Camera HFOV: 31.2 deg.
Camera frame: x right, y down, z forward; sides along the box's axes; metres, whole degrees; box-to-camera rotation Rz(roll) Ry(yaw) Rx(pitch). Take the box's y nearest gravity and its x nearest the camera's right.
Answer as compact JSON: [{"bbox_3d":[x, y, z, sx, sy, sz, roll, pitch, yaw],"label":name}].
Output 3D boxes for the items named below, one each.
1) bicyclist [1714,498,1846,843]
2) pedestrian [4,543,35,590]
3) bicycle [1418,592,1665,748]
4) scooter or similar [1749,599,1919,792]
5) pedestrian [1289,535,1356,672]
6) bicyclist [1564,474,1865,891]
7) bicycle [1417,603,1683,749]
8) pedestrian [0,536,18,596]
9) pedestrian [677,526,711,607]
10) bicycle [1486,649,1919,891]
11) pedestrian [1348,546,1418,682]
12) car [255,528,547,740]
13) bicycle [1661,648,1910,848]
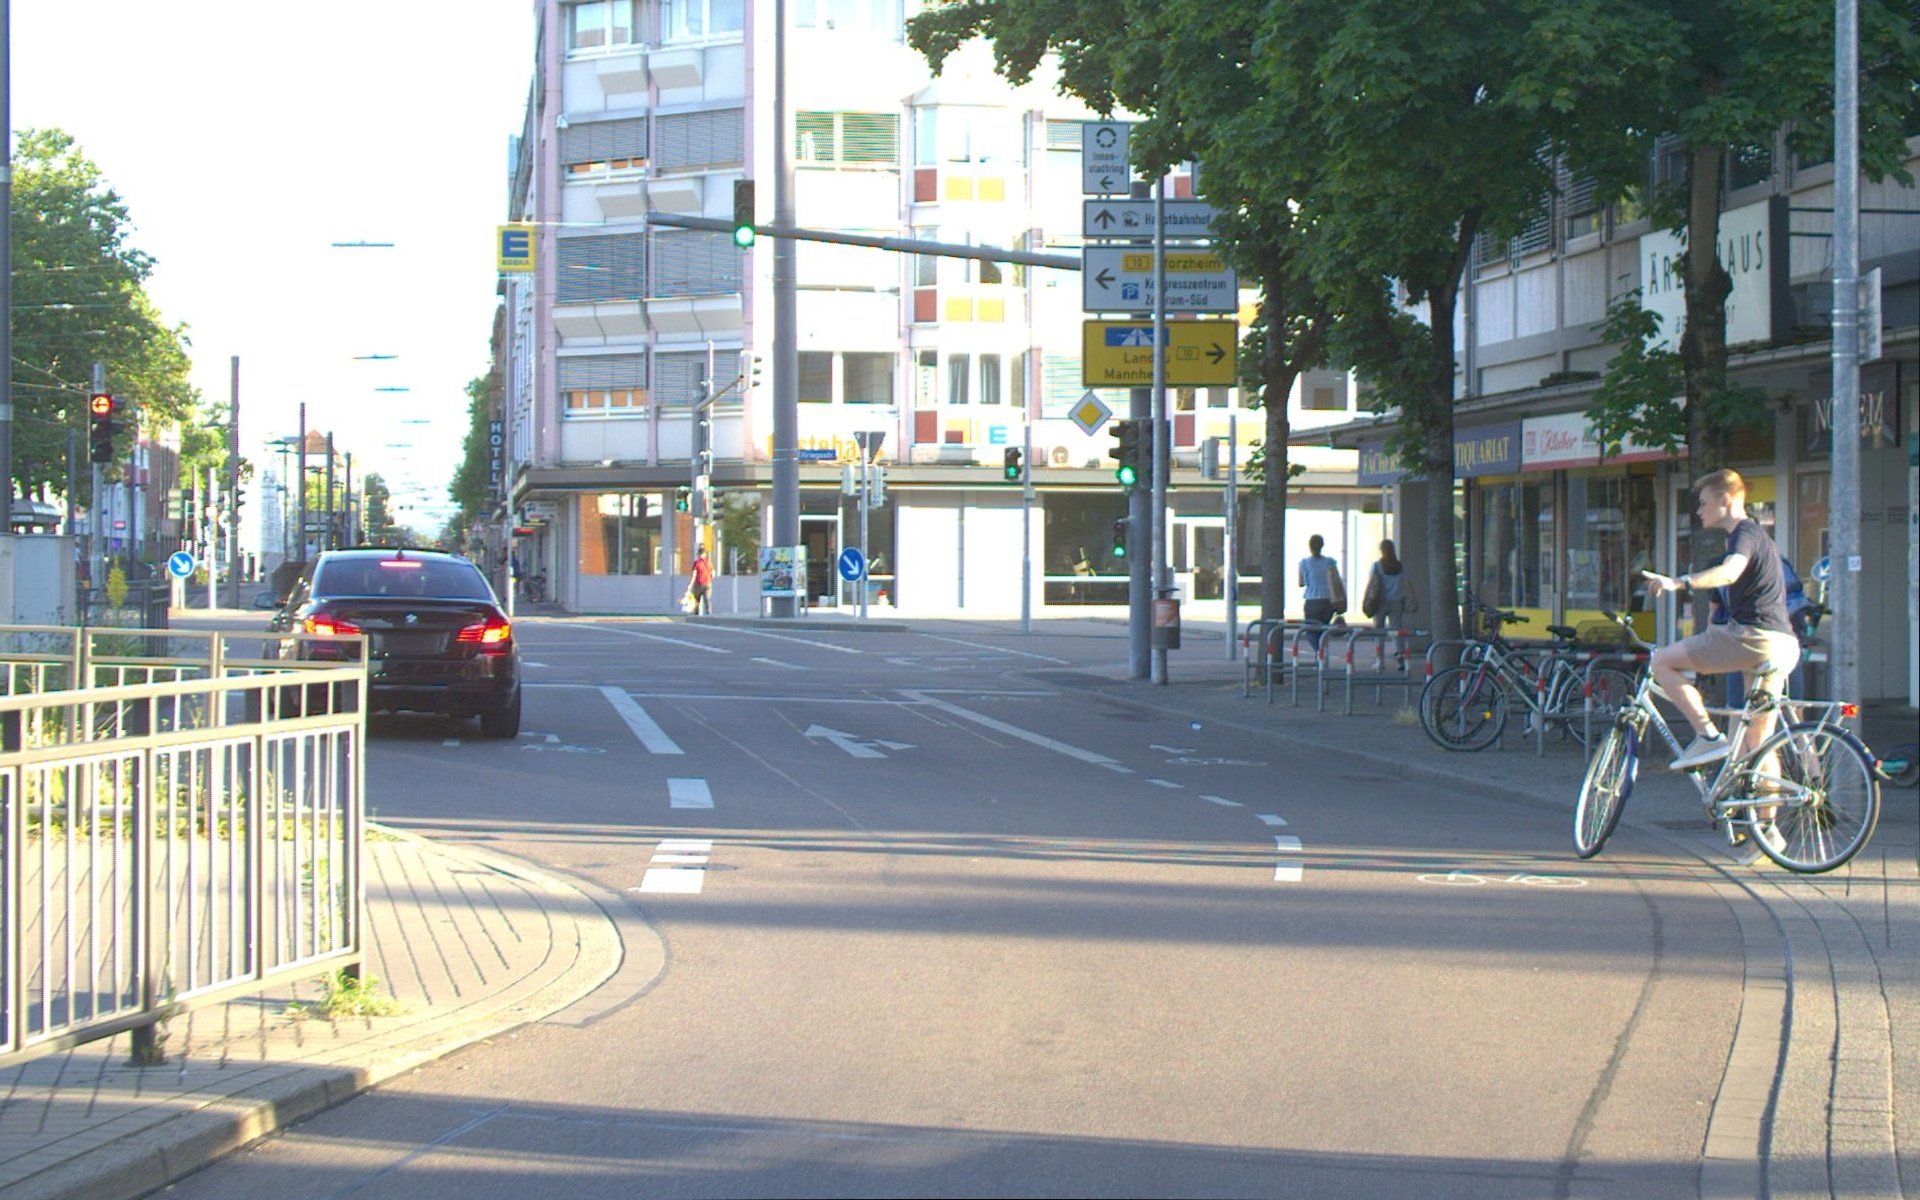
[{"bbox_3d":[4.409,0.367,18.502,0.464,1.824,0.559,0,1,-16],"label":"bicyclist"},{"bbox_3d":[-33.423,-1.196,122.181,0.987,1.675,0.726,0,1,-9],"label":"pedestrian"},{"bbox_3d":[4.722,0.561,27.987,1.904,1.231,0.668,0,1,3],"label":"bicycle"},{"bbox_3d":[5.887,0.618,22.700,1.276,1.231,0.338,1,1,34],"label":"scooter or similar"},{"bbox_3d":[4.420,0.038,41.969,0.684,1.661,0.671,0,1,-5],"label":"pedestrian"},{"bbox_3d":[3.599,0.366,16.414,0.838,1.910,1.114,-1,1,-45],"label":"bicyclist"},{"bbox_3d":[4.619,0.591,27.012,1.997,1.107,0.668,0,1,5],"label":"bicycle"},{"bbox_3d":[-32.732,-1.165,117.380,0.987,2.007,0.726,2,0,-9],"label":"pedestrian"},{"bbox_3d":[-6.060,-0.759,78.368,0.684,1.848,0.671,0,1,-12],"label":"pedestrian"},{"bbox_3d":[3.607,0.776,16.400,2.076,1.016,0.838,1,1,45],"label":"bicycle"},{"bbox_3d":[5.217,0.165,42.398,0.723,1.661,0.671,0,1,-5],"label":"pedestrian"},{"bbox_3d":[-4.611,0.217,27.921,1.993,1.579,4.001,0,1,-14],"label":"car"},{"bbox_3d":[4.419,0.772,18.525,0.464,0.967,1.801,0,1,-16],"label":"bicycle"}]
